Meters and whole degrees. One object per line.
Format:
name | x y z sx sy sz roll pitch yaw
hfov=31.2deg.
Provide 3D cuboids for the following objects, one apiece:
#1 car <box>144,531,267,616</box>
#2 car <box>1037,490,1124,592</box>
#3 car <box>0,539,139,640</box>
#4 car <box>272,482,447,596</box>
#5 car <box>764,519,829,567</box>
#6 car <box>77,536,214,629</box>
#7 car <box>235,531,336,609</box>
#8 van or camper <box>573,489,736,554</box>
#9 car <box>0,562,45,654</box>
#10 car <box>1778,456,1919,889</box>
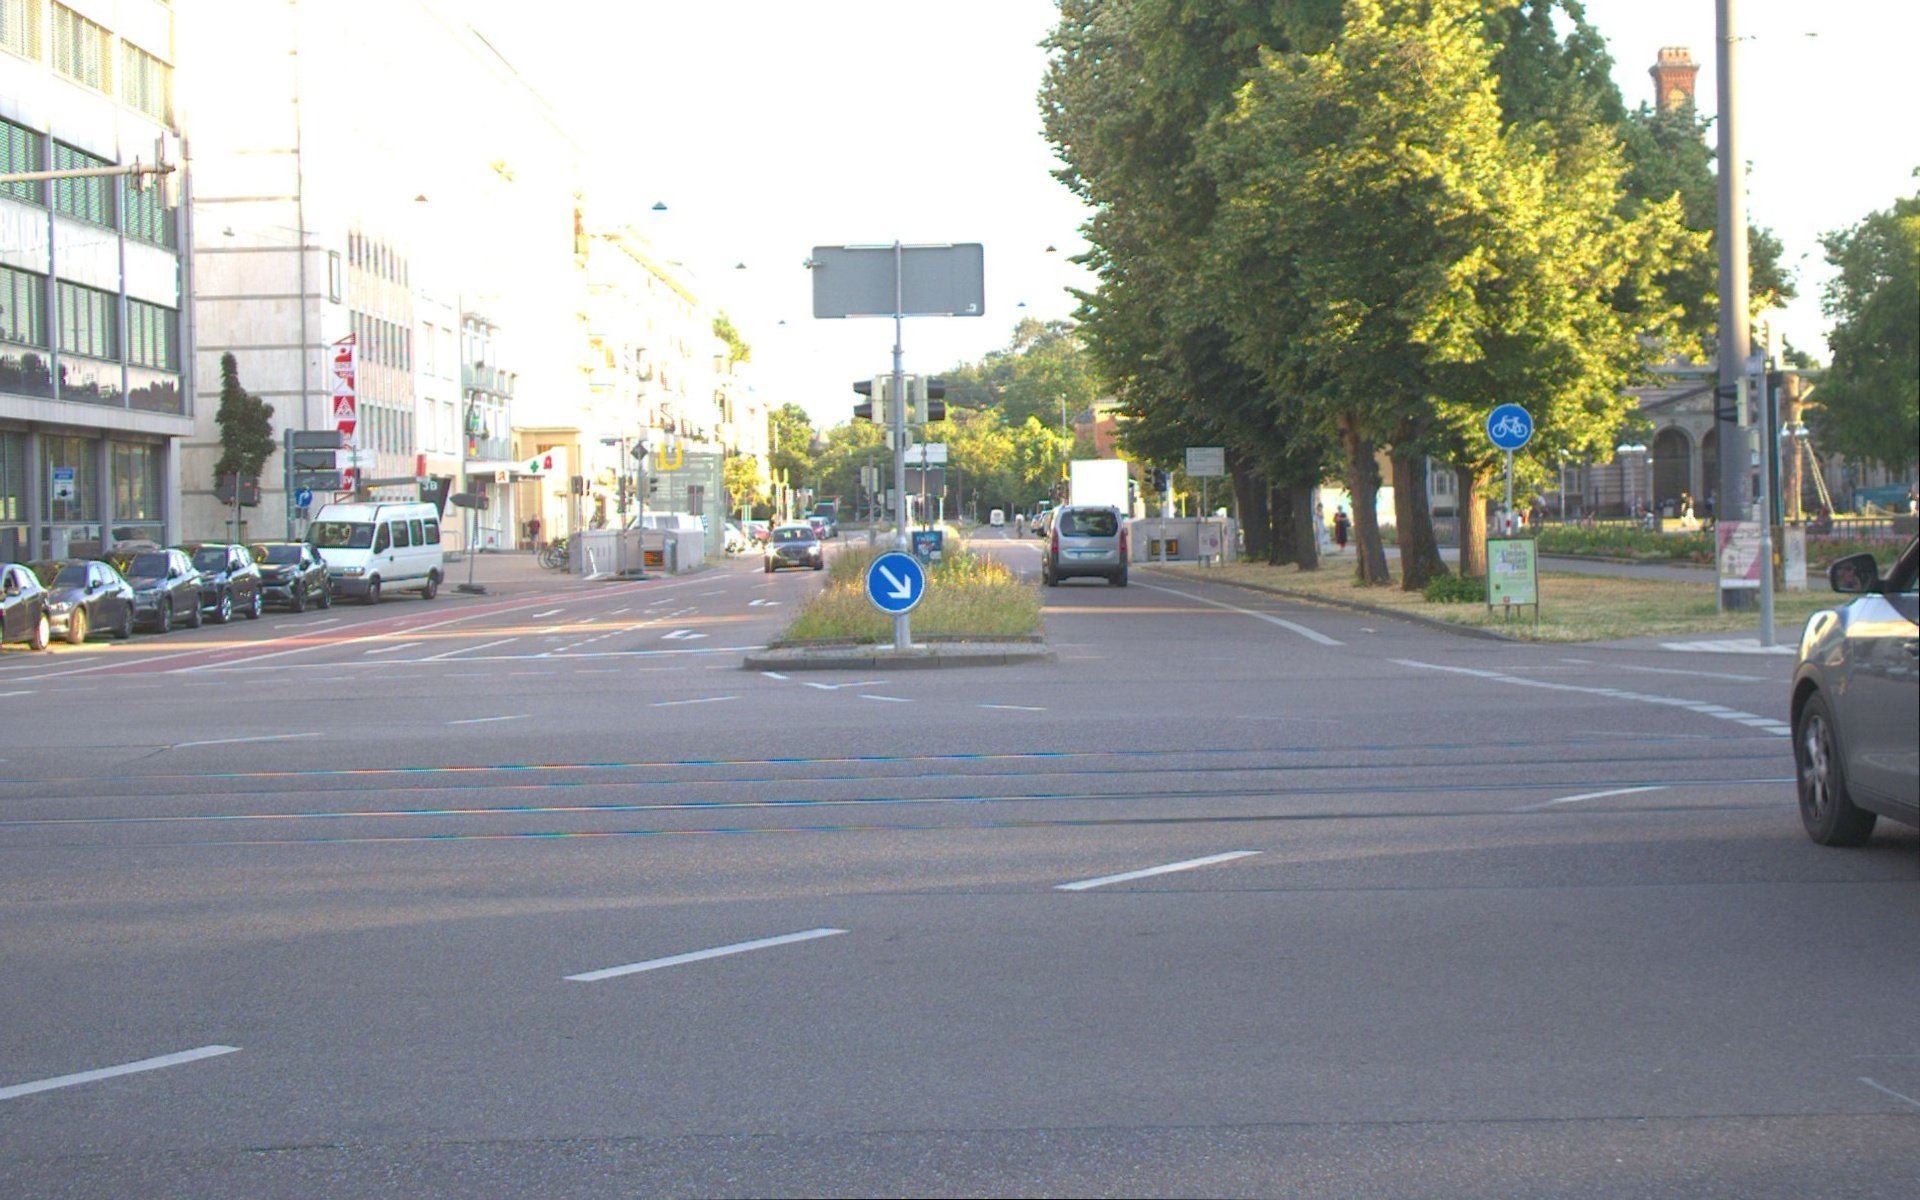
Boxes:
car | -15.799 -0.575 72.173 1.693 1.659 3.868 2 1 0
car | 2.730 -1.362 78.483 1.884 2.230 3.910 -1 2 2
car | -15.989 -0.220 61.360 1.693 1.659 3.868 2 1 0
car | -14.741 -1.494 84.817 2.238 2.620 5.851 3 1 11
car | -5.106 -1.798 107.901 1.693 1.416 4.174 -1 2 2
car | -15.805 -0.361 66.854 1.693 1.659 3.868 2 1 0
car | -15.331 -0.699 78.332 1.499 1.659 3.868 2 1 0
van or camper | -11.335 -2.925 127.749 5.508 2.159 2.245 -3 2 -29
car | -16.158 0.109 55.508 1.693 1.406 3.868 2 1 0
car | 4.387 0.259 12.631 1.693 1.599 4.090 -1 1 -1
